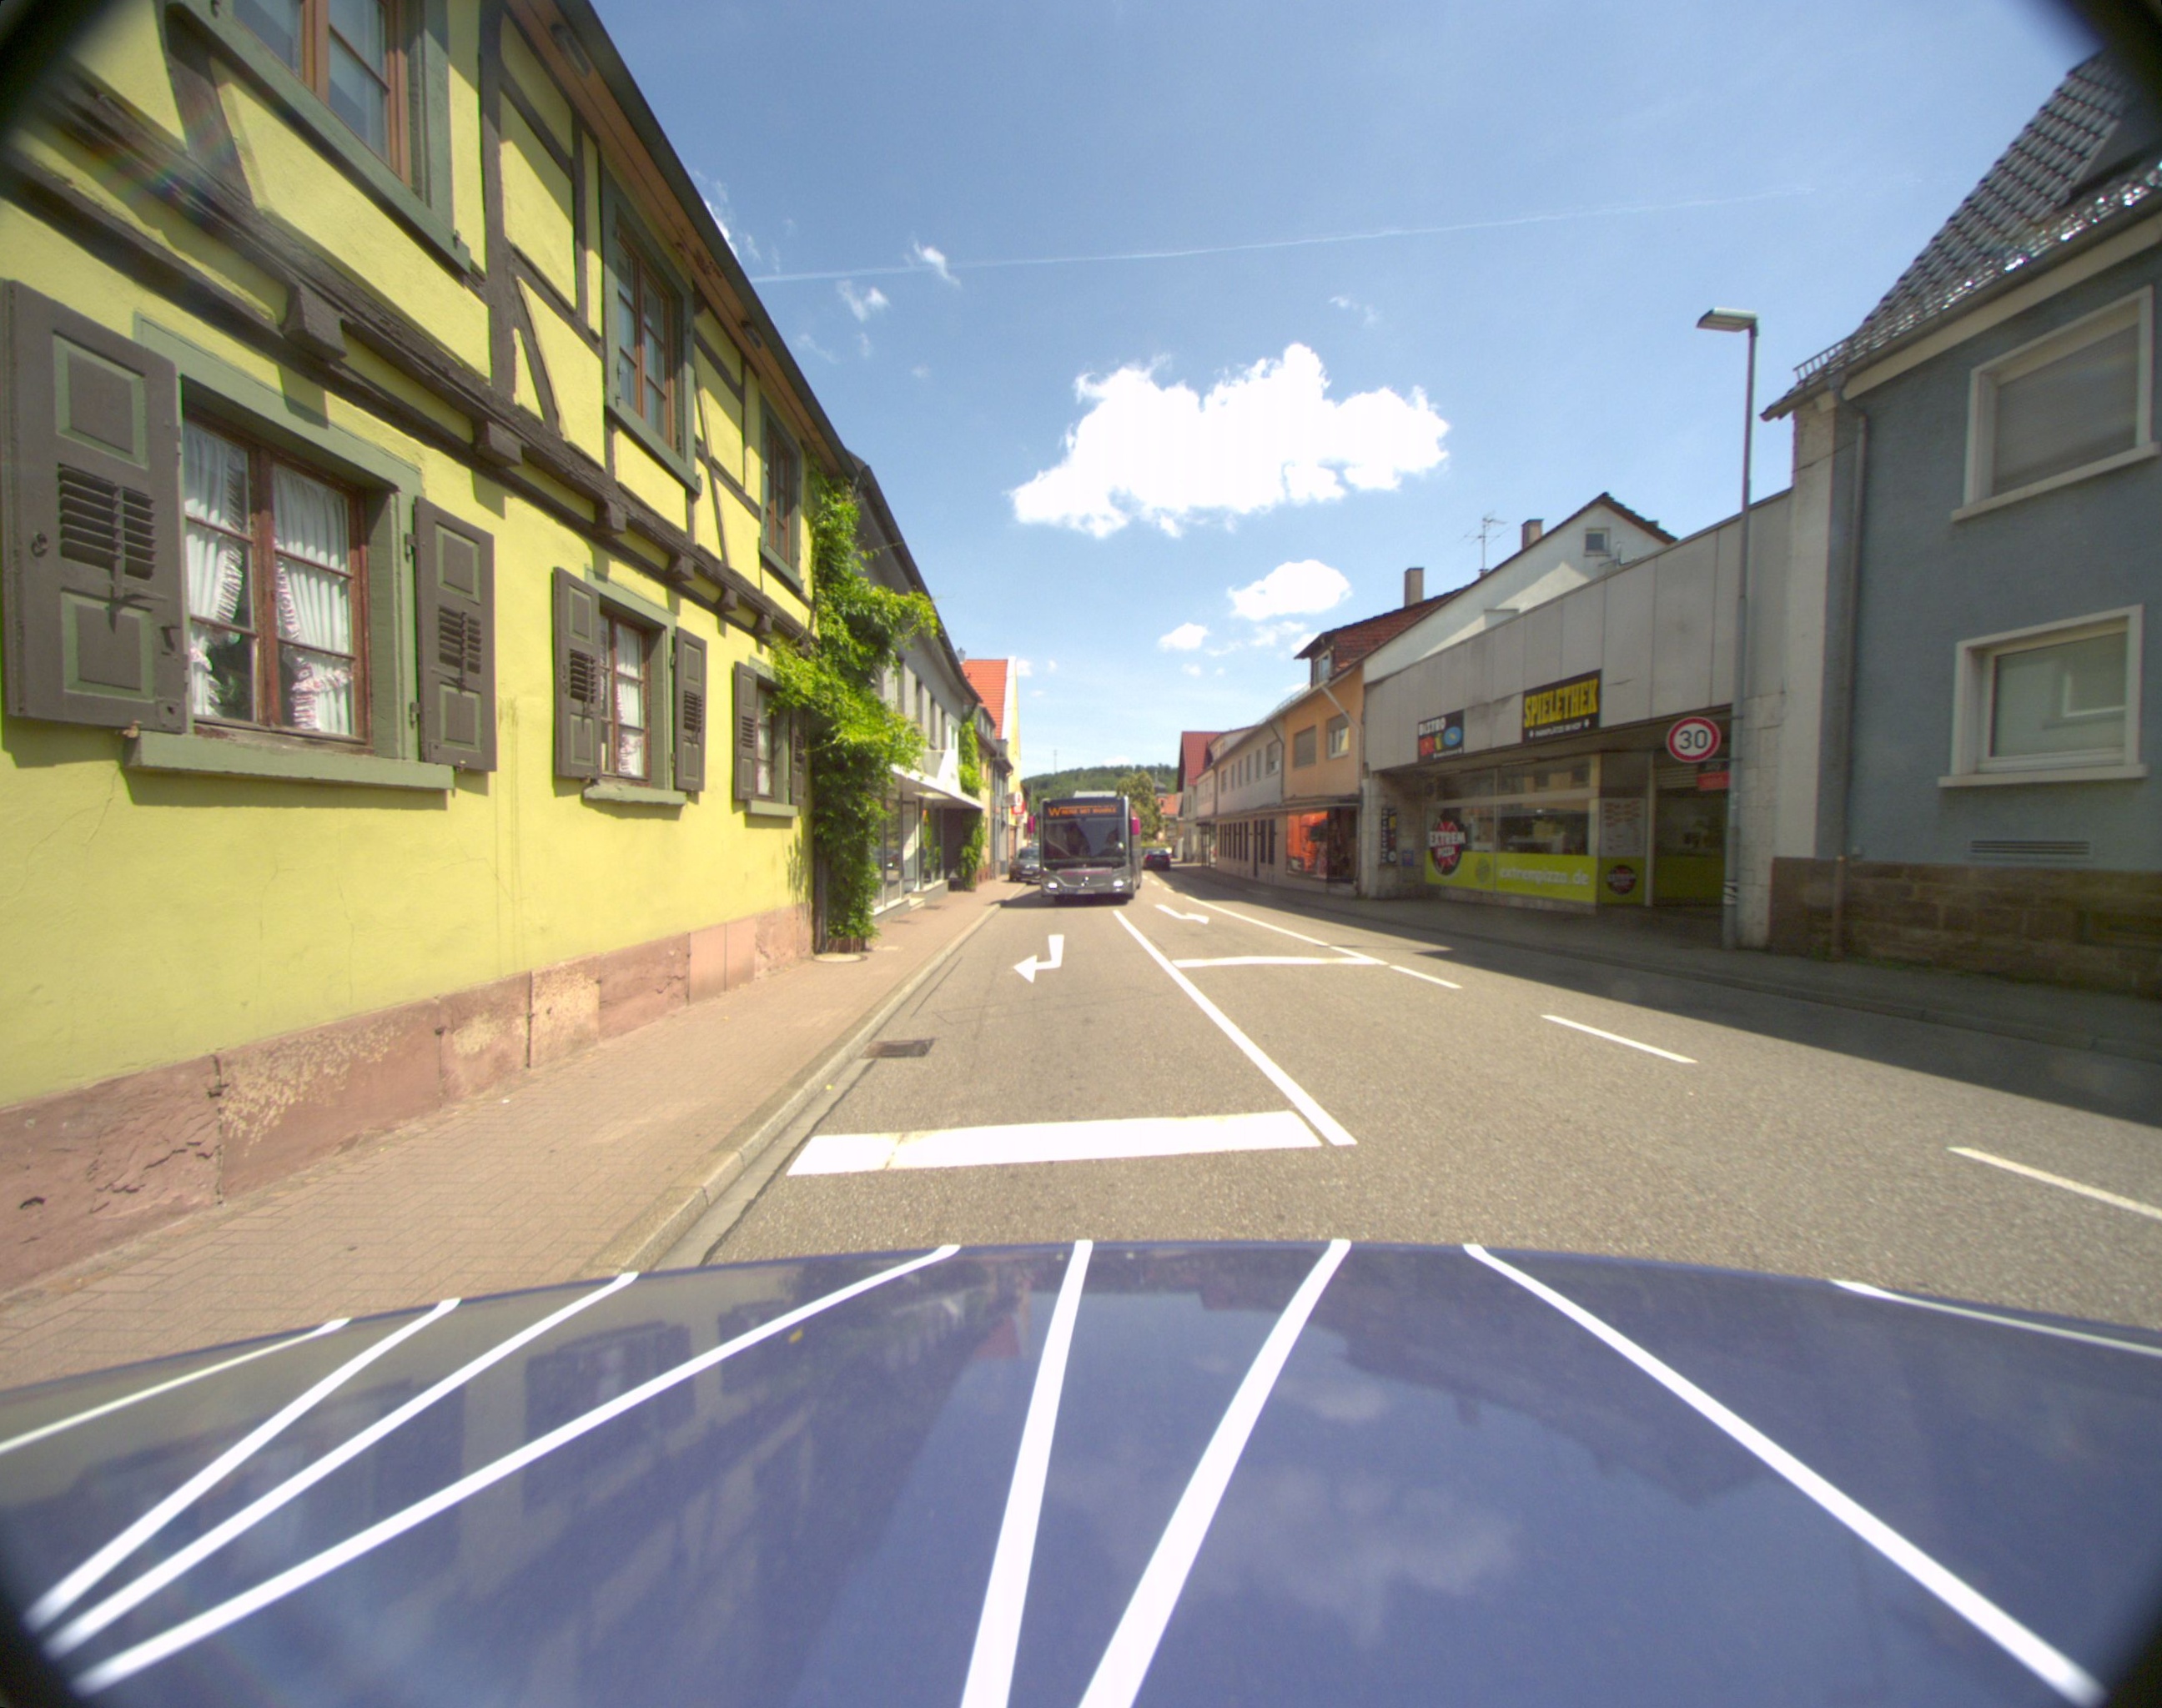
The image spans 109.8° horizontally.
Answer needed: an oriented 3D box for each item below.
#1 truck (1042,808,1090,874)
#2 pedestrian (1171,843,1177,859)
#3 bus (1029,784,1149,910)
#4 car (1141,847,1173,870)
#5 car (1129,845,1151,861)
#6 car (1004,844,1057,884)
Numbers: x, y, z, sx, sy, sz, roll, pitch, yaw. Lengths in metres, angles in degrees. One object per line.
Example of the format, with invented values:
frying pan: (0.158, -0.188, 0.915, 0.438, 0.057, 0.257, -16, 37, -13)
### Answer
truck: (-0.852, -0.797, 51.604, 2.614, 3.922, 9.993, -2, 0, 2)
pedestrian: (10.197, -0.340, 83.030, 0.472, 1.754, 0.478, -1, 2, -21)
bus: (1.041, -0.213, 28.926, 2.857, 3.186, 19.039, -1, 0, 6)
car: (5.402, 0.303, 54.580, 1.801, 1.479, 4.796, 2, 1, 0)
car: (5.606, -0.116, 72.259, 1.722, 1.414, 3.820, 1, 0, -1)
car: (-2.307, 0.431, 35.911, 1.998, 1.699, 4.101, 2, 1, 3)
